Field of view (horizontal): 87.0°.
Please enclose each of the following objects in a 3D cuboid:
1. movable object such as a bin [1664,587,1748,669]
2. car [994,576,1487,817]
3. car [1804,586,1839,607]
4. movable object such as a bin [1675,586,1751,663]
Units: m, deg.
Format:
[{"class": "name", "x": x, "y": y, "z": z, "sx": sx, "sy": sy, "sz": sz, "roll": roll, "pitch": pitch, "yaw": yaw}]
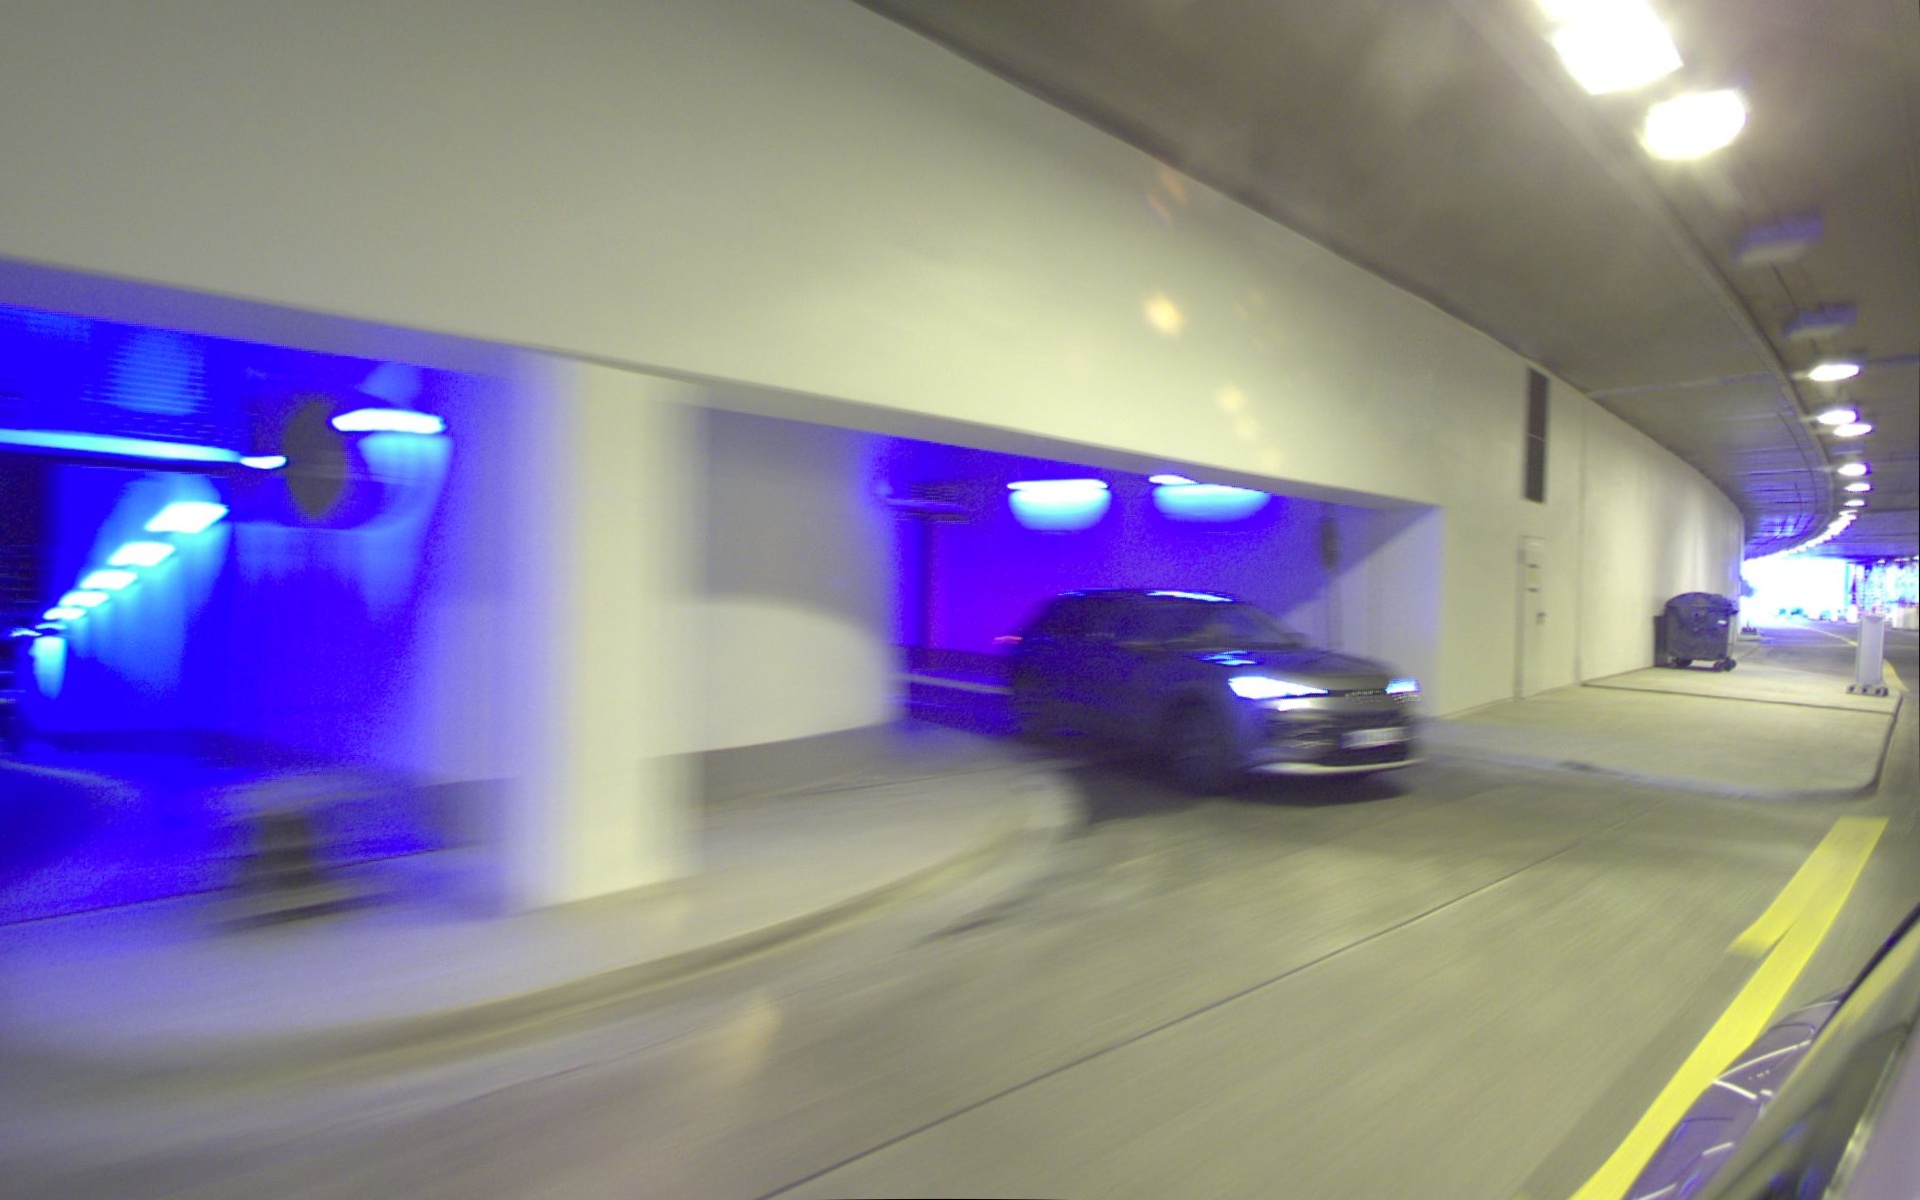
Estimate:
[{"class": "movable object such as a bin", "x": 14.051, "y": 0.483, "z": 19.056, "sx": 1.145, "sy": 1.463, "sz": 1.343, "roll": 1, "pitch": 1, "yaw": 43}, {"class": "car", "x": 2.101, "y": 0.583, "z": 8.906, "sx": 1.859, "sy": 1.565, "sz": 4.248, "roll": 0, "pitch": 1, "yaw": -25}, {"class": "car", "x": 77.298, "y": -0.343, "z": 90.817, "sx": 1.987, "sy": 1.775, "sz": 3.950, "roll": 1, "pitch": 1, "yaw": 35}, {"class": "movable object such as a bin", "x": 15.024, "y": 0.461, "z": 20.189, "sx": 1.097, "sy": 1.463, "sz": 1.302, "roll": 1, "pitch": 1, "yaw": 43}]
